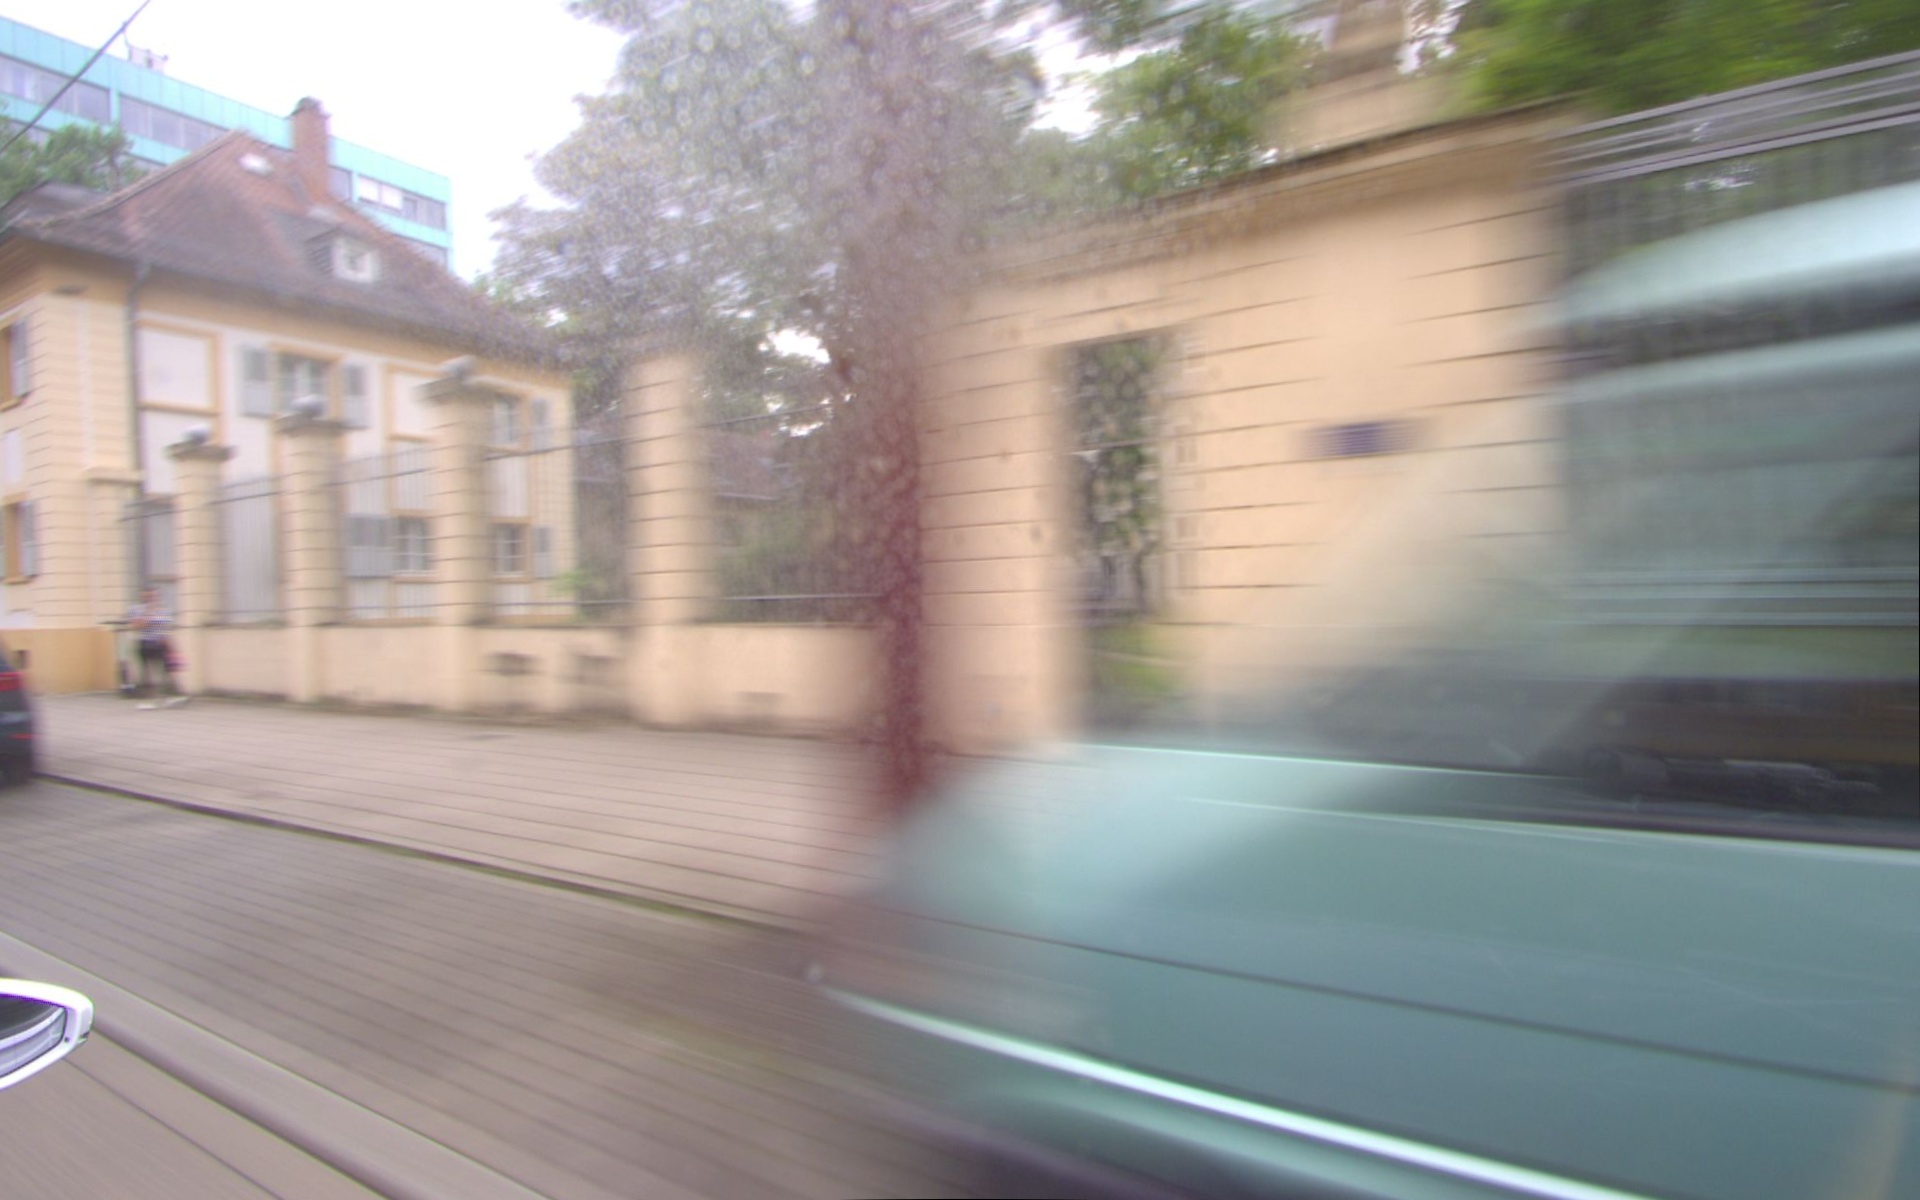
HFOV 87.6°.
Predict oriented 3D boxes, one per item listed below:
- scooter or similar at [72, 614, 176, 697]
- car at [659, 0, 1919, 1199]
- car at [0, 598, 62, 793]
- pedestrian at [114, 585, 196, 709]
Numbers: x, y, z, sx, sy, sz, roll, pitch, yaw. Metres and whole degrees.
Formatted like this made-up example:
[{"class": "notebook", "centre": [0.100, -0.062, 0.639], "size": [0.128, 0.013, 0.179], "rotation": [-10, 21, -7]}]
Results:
[{"class": "scooter or similar", "centre": [-13.702, 0.900, 16.403], "size": [1.892, 1.267, 0.745], "rotation": [-2, 0, 32]}, {"class": "car", "centre": [2.063, 0.365, 1.292], "size": [4.913, 2.144, 1.846], "rotation": [-1, 3, 32]}, {"class": "car", "centre": [-9.994, 0.873, 9.042], "size": [3.868, 1.618, 1.745], "rotation": [-1, 3, 32]}, {"class": "pedestrian", "centre": [-11.569, 0.656, 14.396], "size": [0.878, 1.710, 0.640], "rotation": [-1, 1, 32]}]
